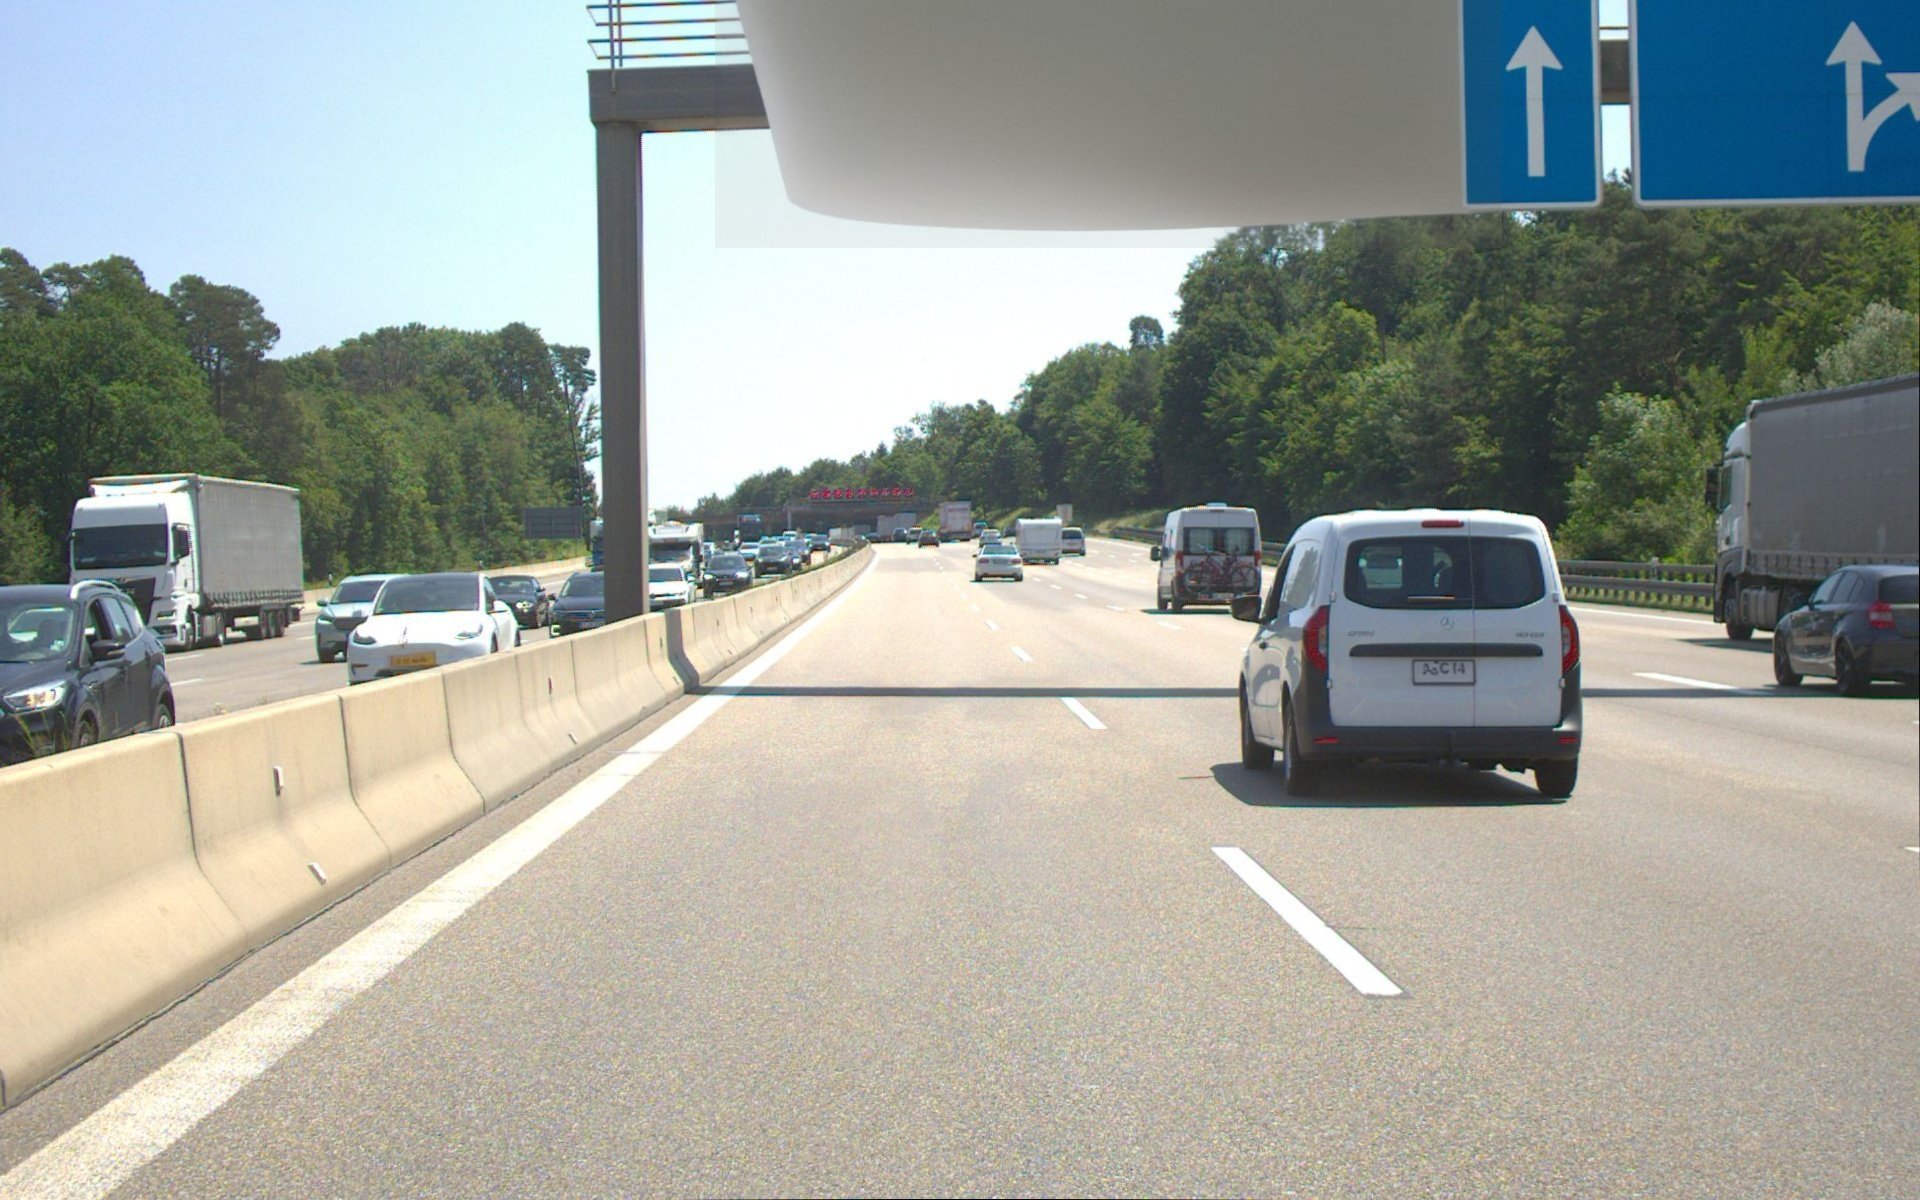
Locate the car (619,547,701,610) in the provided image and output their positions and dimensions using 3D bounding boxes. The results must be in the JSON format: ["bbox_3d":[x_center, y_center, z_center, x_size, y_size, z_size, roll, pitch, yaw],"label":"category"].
[{"bbox_3d":[-8.206,-0.618,94.366,1.846,1.545,5.215,-4,1,-2],"label":"car"}]

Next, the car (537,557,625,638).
[{"bbox_3d":[-7.709,-0.077,70.233,1.536,1.545,4.071,-1,1,-3],"label":"car"}]

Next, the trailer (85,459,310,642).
[{"bbox_3d":[-19.329,-1.180,88.196,2.754,4.231,13.719,-2,0,-1],"label":"trailer"}]

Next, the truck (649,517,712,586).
[{"bbox_3d":[-12.077,-2.116,149.162,2.138,2.828,7.670,-1,1,-1],"label":"truck"}]

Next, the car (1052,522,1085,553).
[{"bbox_3d":[6.856,-3.961,217.519,1.820,1.853,4.000,-1,1,-1],"label":"car"}]

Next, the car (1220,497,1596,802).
[{"bbox_3d":[2.861,0.290,22.929,1.859,1.819,4.612,0,0,0],"label":"car"}]

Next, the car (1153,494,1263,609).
[{"bbox_3d":[5.888,-1.162,82.328,2.143,2.643,5.710,0,1,-1],"label":"car"}]

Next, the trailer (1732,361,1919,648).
[{"bbox_3d":[14.643,-1.354,50.237,3.287,3.917,13.892,0,1,-1],"label":"trailer"}]

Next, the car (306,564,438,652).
[{"bbox_3d":[-11.357,0.123,66.640,1.818,1.584,4.883,-1,1,-2],"label":"car"}]

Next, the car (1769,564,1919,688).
[{"bbox_3d":[10.227,0.323,37.671,1.670,1.269,4.289,0,-2,-1],"label":"car"}]

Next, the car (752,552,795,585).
[{"bbox_3d":[-9.520,-1.635,175.783,1.993,1.612,4.000,-1,1,-1],"label":"car"}]

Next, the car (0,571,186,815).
[{"bbox_3d":[-7.207,0.652,26.247,1.754,1.667,4.204,-2,1,-2],"label":"car"}]

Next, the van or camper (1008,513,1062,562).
[{"bbox_3d":[4.086,-3.392,187.834,2.645,2.530,6.502,-1,0,-1],"label":"van or camper"}]

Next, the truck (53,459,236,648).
[{"bbox_3d":[-19.219,-1.057,81.406,2.760,4.206,6.378,-2,0,-1],"label":"truck"}]

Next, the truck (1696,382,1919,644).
[{"bbox_3d":[14.507,-1.420,56.874,3.254,4.092,5.988,0,1,-1],"label":"truck"}]

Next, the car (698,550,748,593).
[{"bbox_3d":[-8.753,-1.081,127.354,1.723,1.532,5.056,-1,1,-3],"label":"car"}]

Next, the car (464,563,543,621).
[{"bbox_3d":[-11.883,-0.230,89.693,1.548,1.437,4.725,-1,1,-2],"label":"car"}]

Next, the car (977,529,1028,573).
[{"bbox_3d":[1.668,-1.946,136.570,1.843,1.623,4.553,-2,0,-1],"label":"car"}]

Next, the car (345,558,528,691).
[{"bbox_3d":[-7.128,0.290,47.203,1.812,1.667,4.476,-2,1,0],"label":"car"}]
